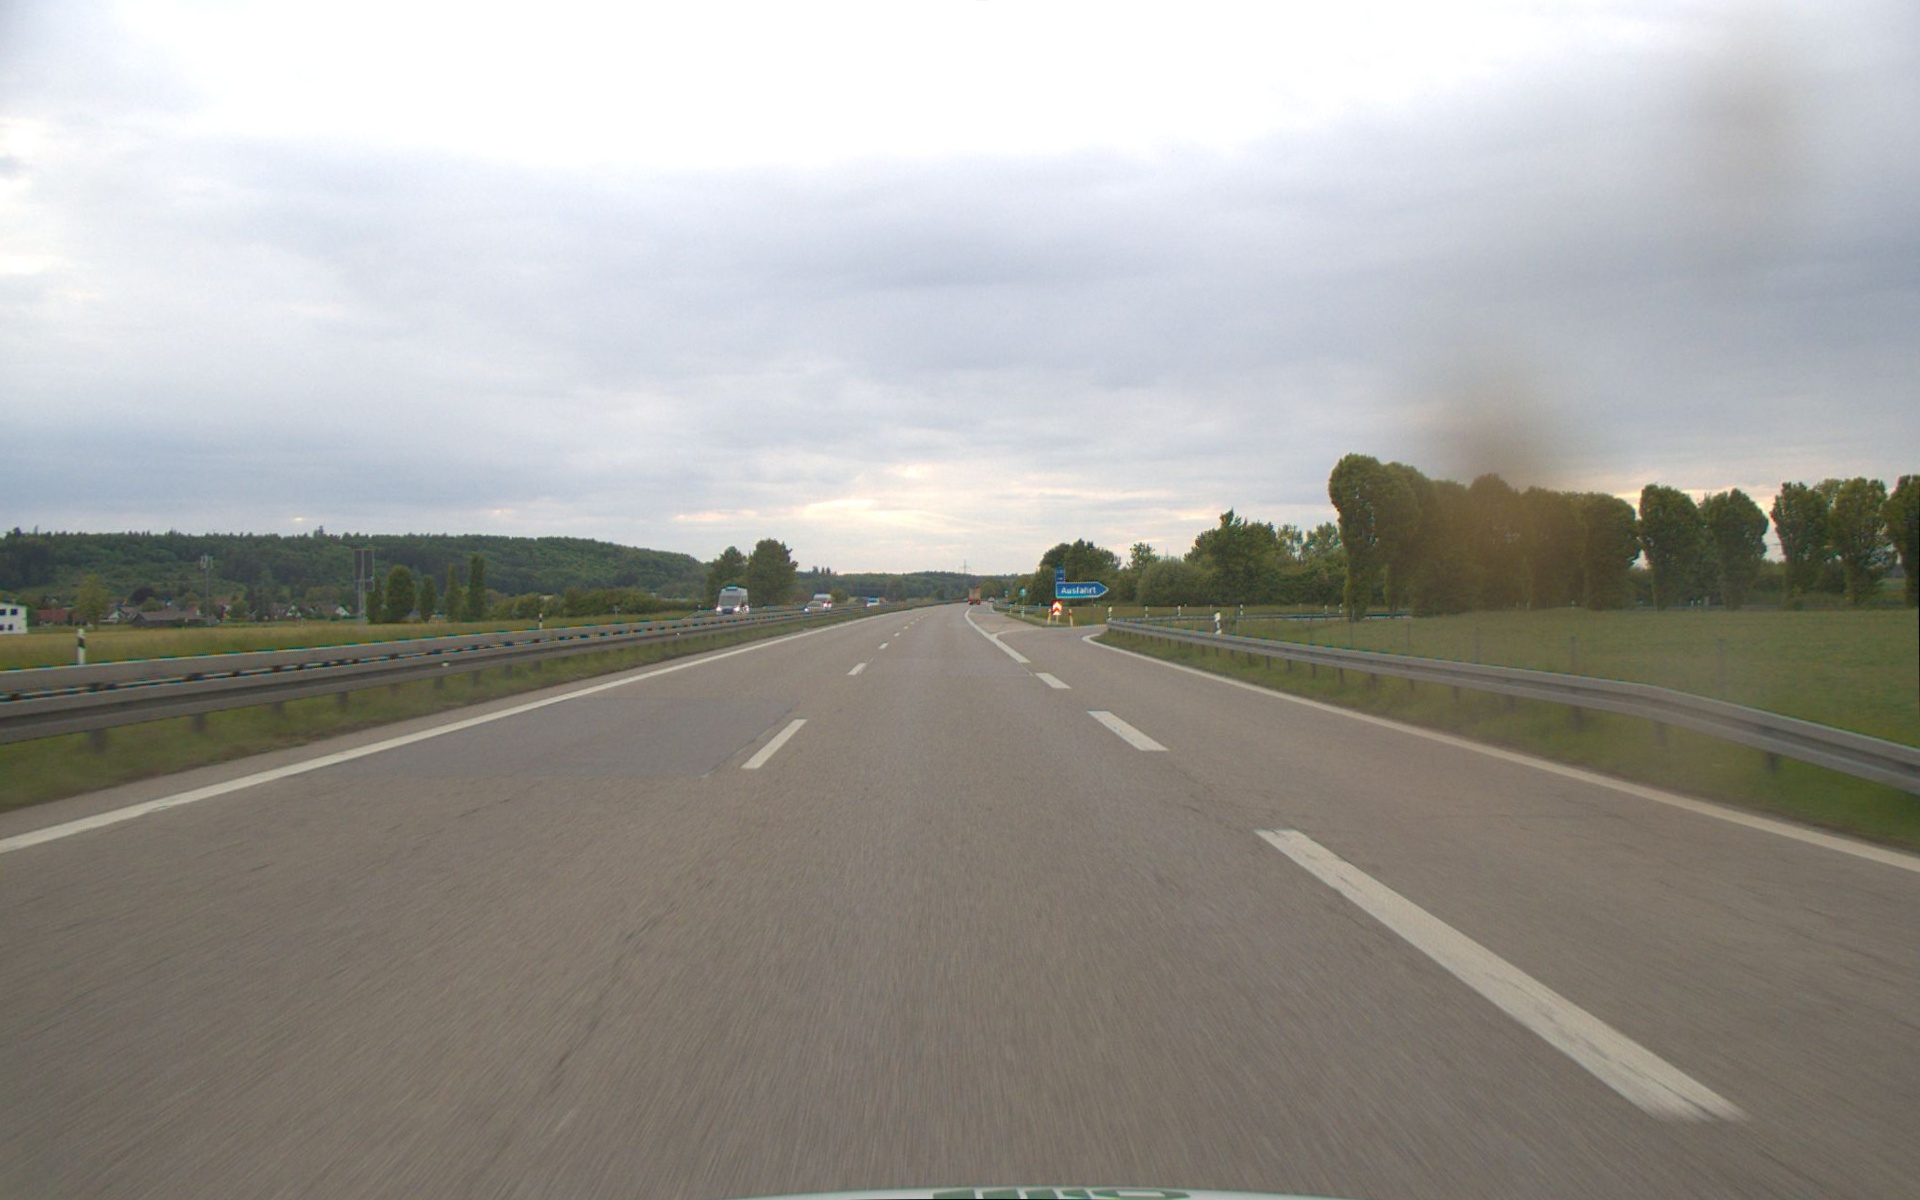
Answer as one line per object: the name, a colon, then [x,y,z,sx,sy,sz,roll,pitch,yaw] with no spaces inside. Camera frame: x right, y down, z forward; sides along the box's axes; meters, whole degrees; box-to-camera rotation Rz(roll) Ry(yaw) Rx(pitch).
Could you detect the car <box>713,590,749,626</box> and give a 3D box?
car: [-18.648,0.646,135.118,2.063,2.850,6.426,1,0,0]
